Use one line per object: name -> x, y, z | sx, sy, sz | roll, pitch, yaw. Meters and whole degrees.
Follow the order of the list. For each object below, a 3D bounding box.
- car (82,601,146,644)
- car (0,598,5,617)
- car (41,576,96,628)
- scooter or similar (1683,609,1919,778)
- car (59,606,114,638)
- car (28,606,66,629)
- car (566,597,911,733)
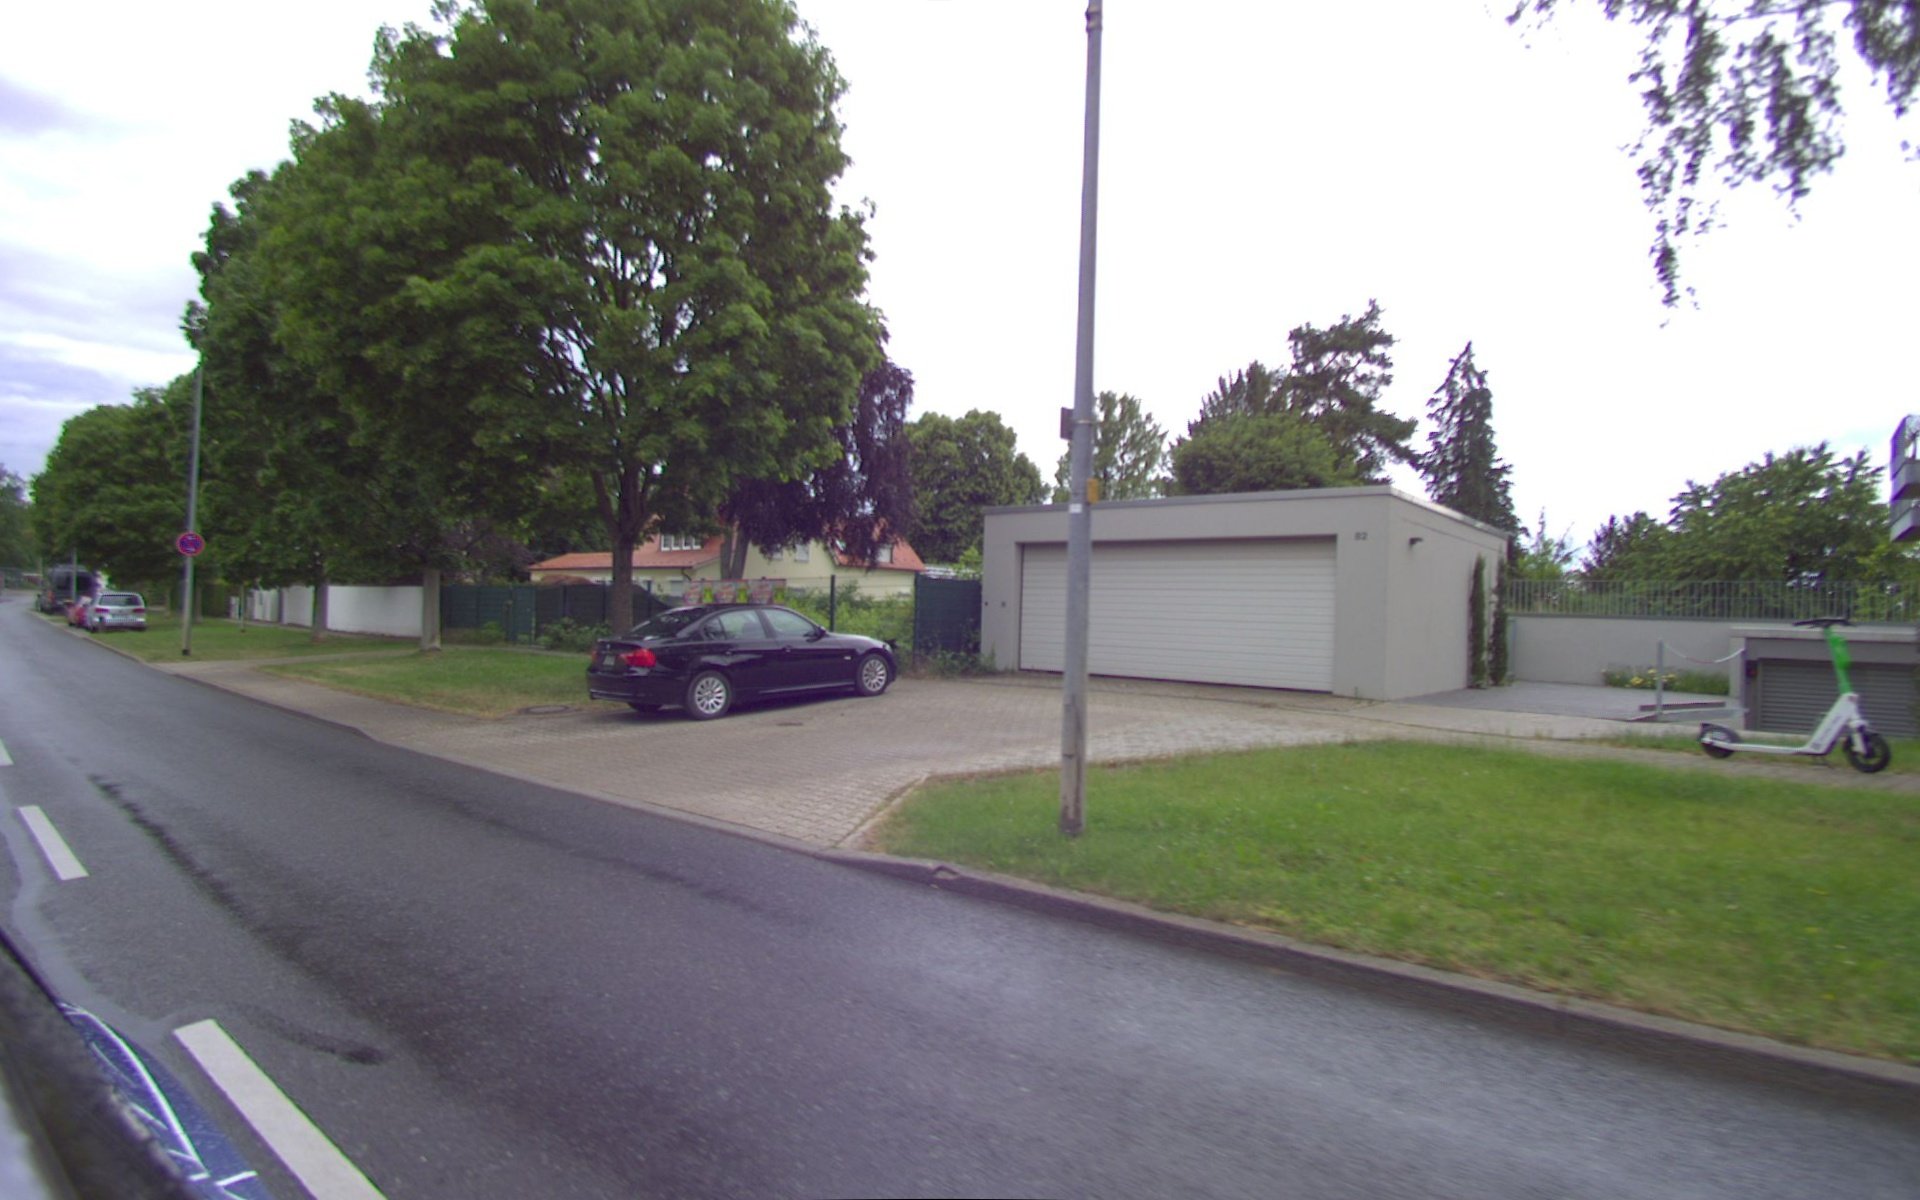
car -> -34.122, 0.881, 40.771 | 1.750, 1.619, 4.004 | 2, -1, -43
car -> -79.171, 0.638, 82.472 | 1.868, 1.552, 4.005 | 0, -1, -42
car -> -50.489, 0.089, 57.292 | 2.215, 2.860, 5.050 | 0, 0, -43
scooter or similar -> 6.502, 0.667, 7.763 | 0.418, 1.167, 1.495 | -1, -1, -26
car -> -38.282, 0.932, 44.318 | 1.682, 1.334, 3.847 | -1, 0, -43
car -> -56.334, 1.040, 62.442 | 1.682, 1.334, 3.847 | -1, 0, -43
car -> -2.871, 0.755, 13.885 | 1.756, 1.428, 4.379 | -1, 1, 44
